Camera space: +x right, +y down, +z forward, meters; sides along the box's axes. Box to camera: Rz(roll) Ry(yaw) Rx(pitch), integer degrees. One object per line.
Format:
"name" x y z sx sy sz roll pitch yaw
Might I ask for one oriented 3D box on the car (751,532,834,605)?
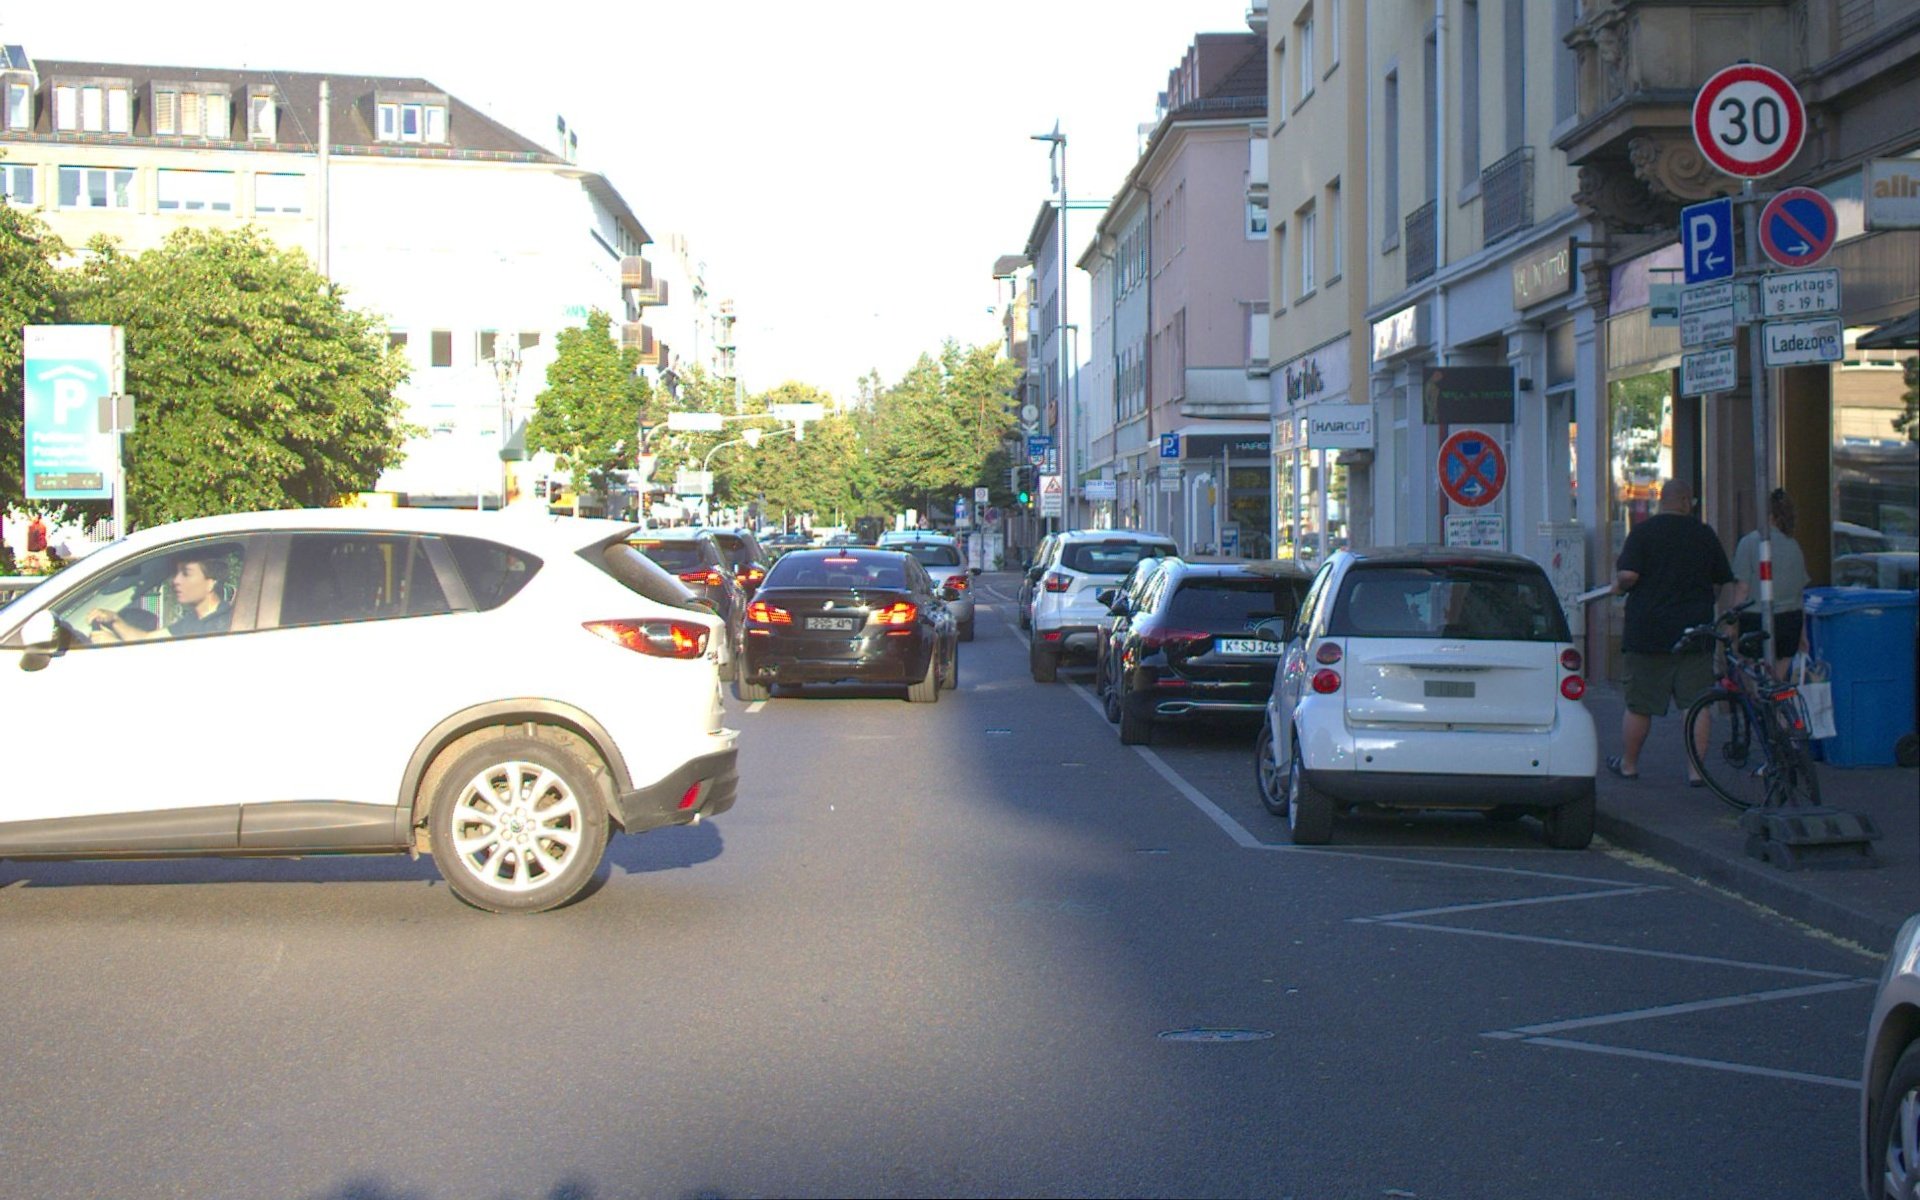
"car" -3.701 -0.719 76.455 1.779 1.542 4.001 1 1 -2

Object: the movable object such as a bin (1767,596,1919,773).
"movable object such as a bin" 5.580 0.529 21.741 0.774 1.066 0.618 -2 1 -1

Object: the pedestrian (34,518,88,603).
"pedestrian" -16.950 -0.742 64.800 0.791 1.589 0.567 1 1 19

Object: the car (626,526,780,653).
"car" -3.464 -0.176 46.955 1.896 1.644 4.105 1 1 -2

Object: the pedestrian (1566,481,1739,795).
"pedestrian" 4.143 0.209 20.633 0.772 1.821 1.011 -1 1 -1

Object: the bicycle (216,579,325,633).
"bicycle" -12.315 0.107 61.447 1.825 0.850 0.484 3 1 -4

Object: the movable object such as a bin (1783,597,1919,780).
"movable object such as a bin" 5.528 0.533 21.070 0.774 1.066 0.618 -2 1 -1

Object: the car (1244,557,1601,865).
"car" 2.491 0.550 19.154 1.532 1.531 3.283 1 0 0

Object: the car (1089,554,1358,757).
"car" 2.036 0.388 27.765 1.729 1.443 4.524 2 1 -1

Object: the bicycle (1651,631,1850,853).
"bicycle" 4.000 0.693 17.515 0.504 1.012 1.947 0 1 -2

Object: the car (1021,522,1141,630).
"car" 1.947 -0.397 56.335 1.730 1.646 3.970 2 1 0

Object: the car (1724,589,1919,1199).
"car" 2.628 0.801 4.861 1.759 1.531 4.822 2 1 -3

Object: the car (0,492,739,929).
"car" -3.209 0.424 14.825 4.450 1.755 2.000 0 1 -2

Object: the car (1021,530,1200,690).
"car" 1.646 0.087 38.845 1.729 1.645 4.285 2 1 -1

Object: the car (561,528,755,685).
"car" -3.313 0.033 38.402 1.896 1.644 4.105 1 1 -1

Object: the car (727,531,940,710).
"car" -1.208 0.152 33.380 1.896 1.575 4.000 2 1 -1

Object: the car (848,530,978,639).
"car" -0.756 -0.271 53.350 1.896 1.575 4.000 2 1 -1

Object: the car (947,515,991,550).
"car" 0.414 -3.096 157.499 1.896 1.575 3.852 0 1 -1

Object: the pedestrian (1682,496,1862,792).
"pedestrian" 4.840 0.245 20.550 0.772 1.705 1.042 -1 1 -1

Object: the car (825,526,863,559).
"car" -5.439 -2.706 161.276 1.779 1.542 4.001 1 1 -2
